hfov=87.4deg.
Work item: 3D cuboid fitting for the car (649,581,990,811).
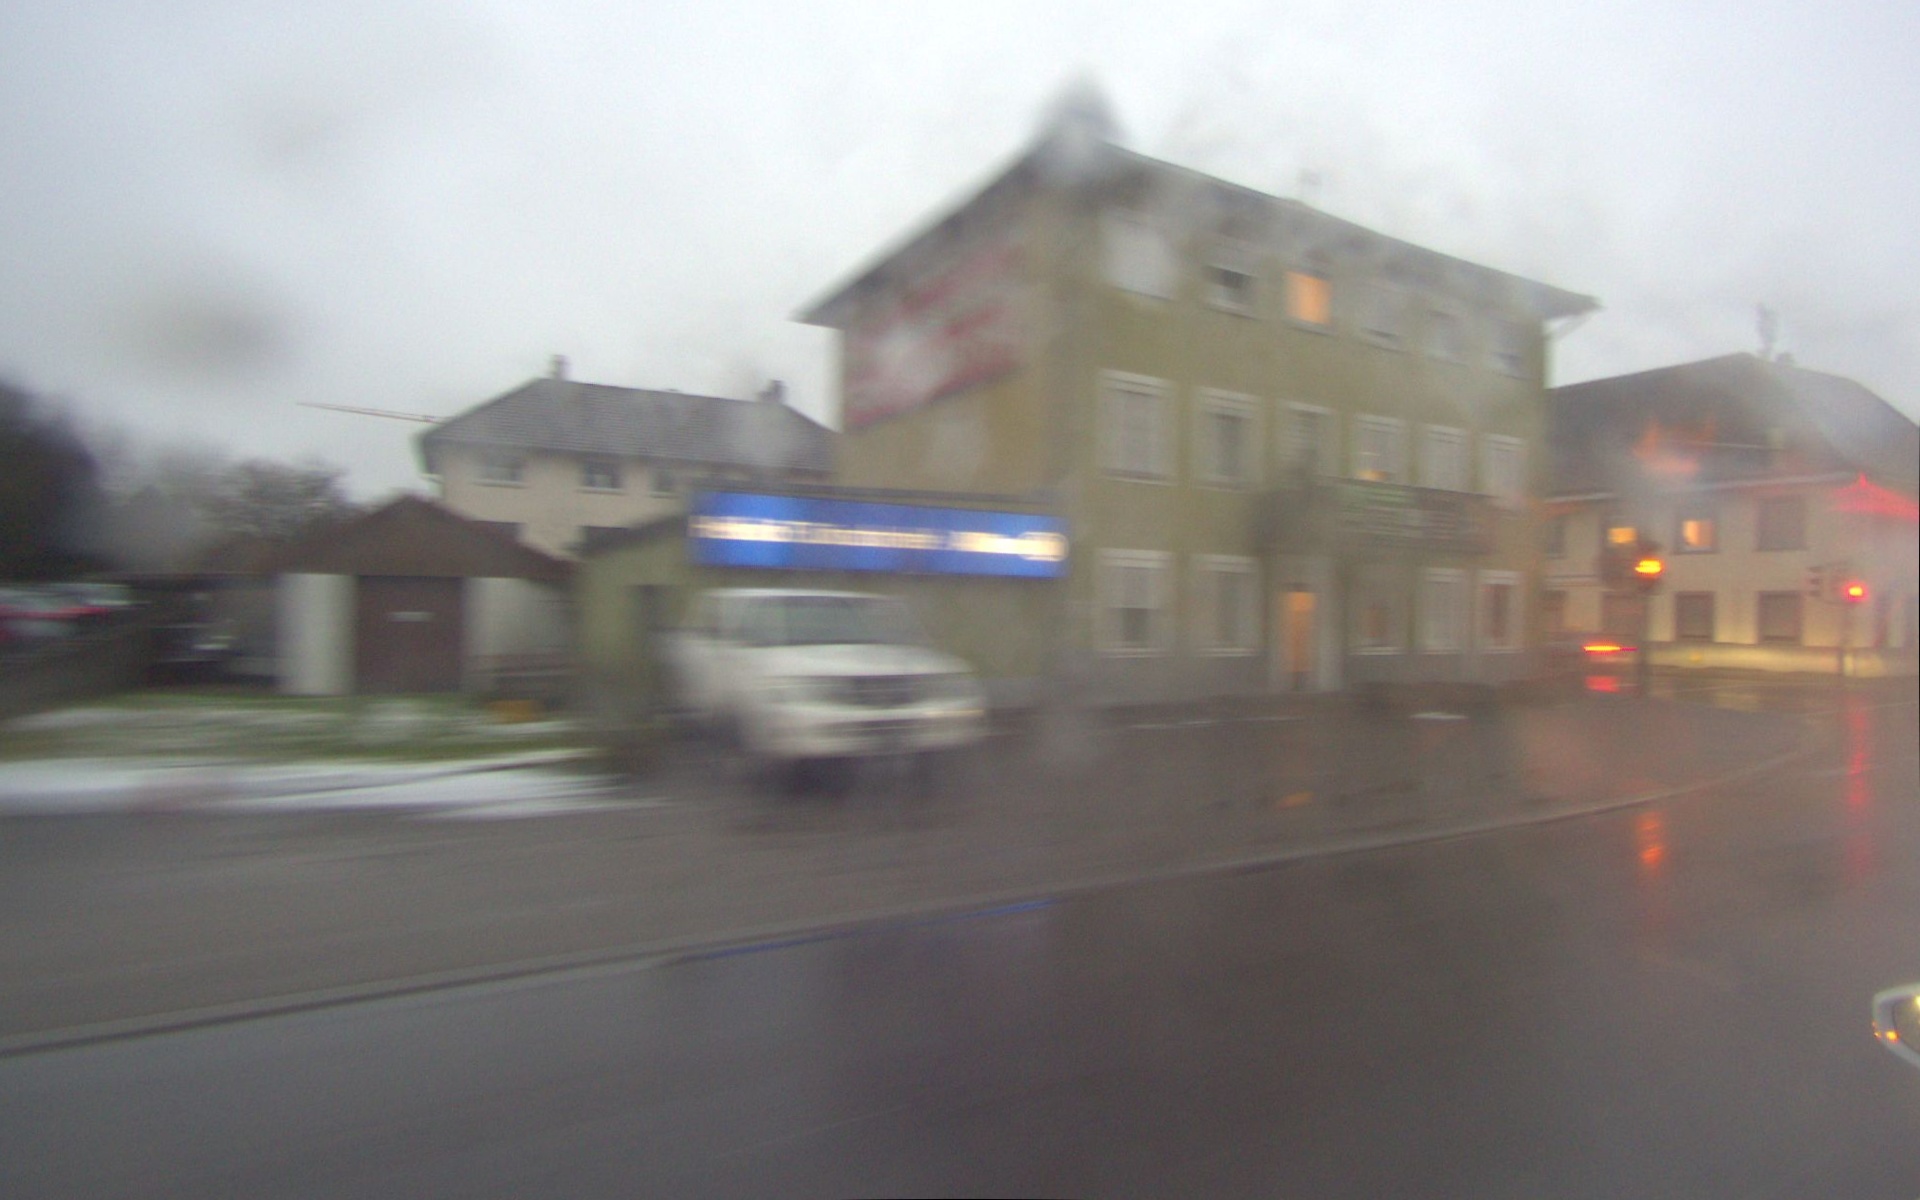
[{"bbox_3d":[-1.803,0.788,10.689,1.975,1.814,5.169,1,-1,-27],"label":"car"}]

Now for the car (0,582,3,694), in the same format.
[{"bbox_3d":[-15.398,0.516,13.005,3.954,1.646,1.984,1,-1,-31],"label":"car"}]

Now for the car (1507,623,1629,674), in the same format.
[{"bbox_3d":[20.605,1.608,34.145,1.534,1.528,3.195,1,1,-35],"label":"car"}]

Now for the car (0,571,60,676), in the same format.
[{"bbox_3d":[-16.941,0.340,15.662,3.954,1.646,1.984,1,-1,-31],"label":"car"}]

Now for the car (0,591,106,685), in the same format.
[{"bbox_3d":[-18.085,0.659,17.947,3.954,1.646,1.984,1,-1,-31],"label":"car"}]
